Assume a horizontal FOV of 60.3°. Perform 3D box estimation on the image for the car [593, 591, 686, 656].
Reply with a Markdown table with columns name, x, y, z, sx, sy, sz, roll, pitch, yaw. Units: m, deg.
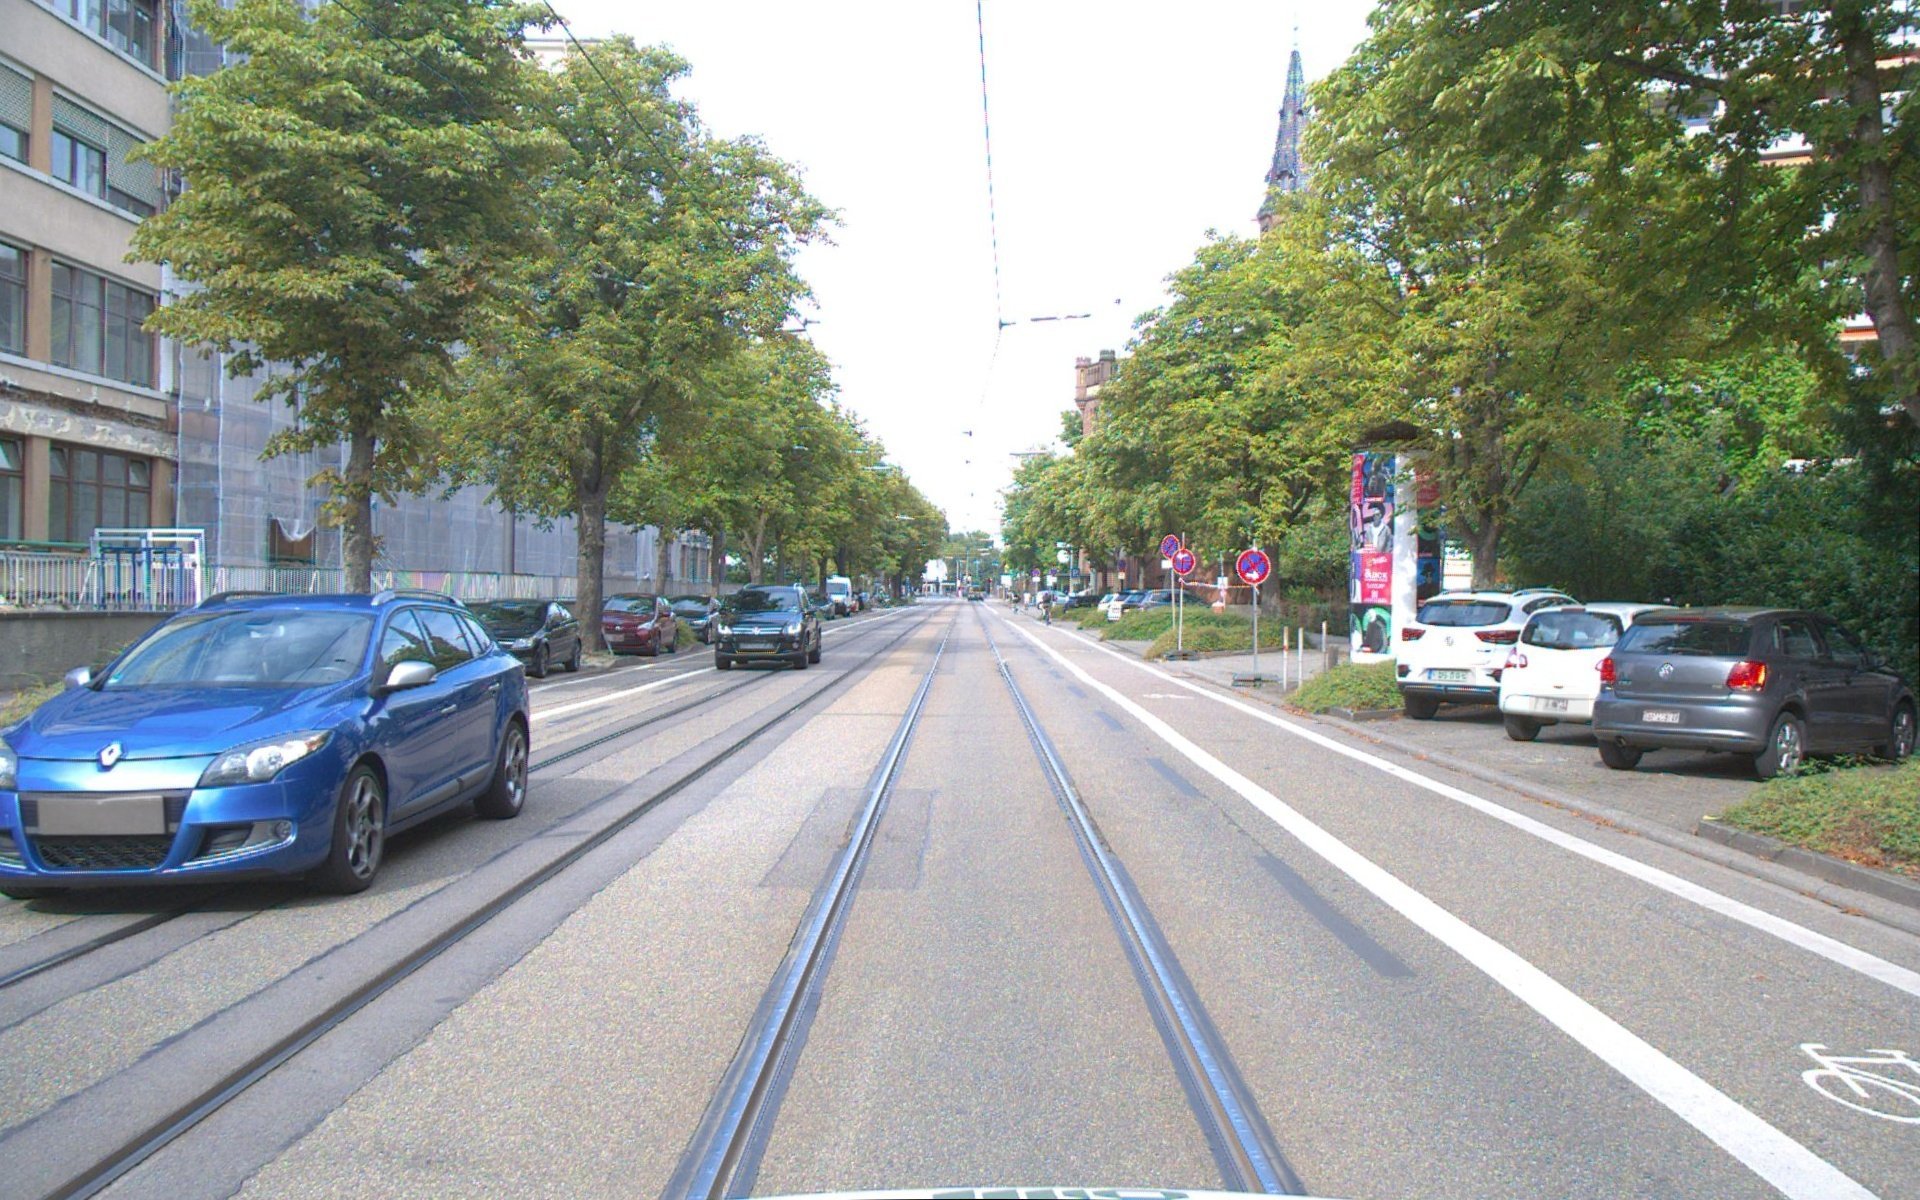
| name | x | y | z | sx | sy | sz | roll | pitch | yaw |
| --- | --- | --- | --- | --- | --- | --- | --- | --- | --- |
| car | -8.018 | 0.559 | 41.648 | 1.602 | 1.522 | 3.962 | 1 | 0 | -1 |

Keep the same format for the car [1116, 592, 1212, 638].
| name | x | y | z | sx | sy | sz | roll | pitch | yaw |
| --- | --- | --- | --- | --- | --- | --- | --- | --- | --- |
| car | 7.465 | 0.553 | 60.485 | 1.654 | 1.630 | 3.621 | 0 | 0 | 44 |

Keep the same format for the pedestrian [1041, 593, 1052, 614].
| name | x | y | z | sx | sy | sz | roll | pitch | yaw |
| --- | --- | --- | --- | --- | --- | --- | --- | --- | --- |
| pedestrian | 7.497 | 0.289 | 143.407 | 0.732 | 1.821 | 0.731 | 1 | -1 | 15 |

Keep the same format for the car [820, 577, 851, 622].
| name | x | y | z | sx | sy | sz | roll | pitch | yaw |
| --- | --- | --- | --- | --- | --- | --- | --- | --- | --- |
| car | -7.883 | -0.017 | 105.226 | 1.686 | 2.751 | 5.468 | 1 | 0 | -2 |

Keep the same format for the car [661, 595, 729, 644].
| name | x | y | z | sx | sy | sz | roll | pitch | yaw |
| --- | --- | --- | --- | --- | --- | --- | --- | --- | --- |
| car | -8.110 | 0.565 | 50.848 | 1.558 | 1.427 | 3.961 | 1 | 0 | -2 |

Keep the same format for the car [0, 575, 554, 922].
| name | x | y | z | sx | sy | sz | roll | pitch | yaw |
| --- | --- | --- | --- | --- | --- | --- | --- | --- | --- |
| car | -3.697 | 0.632 | 9.452 | 1.697 | 1.522 | 4.378 | 0 | 1 | 0 |

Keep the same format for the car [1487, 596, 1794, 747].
| name | x | y | z | sx | sy | sz | roll | pitch | yaw |
| --- | --- | --- | --- | --- | --- | --- | --- | --- | --- |
| car | 7.550 | 0.727 | 18.227 | 3.612 | 1.500 | 1.658 | 1 | 0 | -40 |

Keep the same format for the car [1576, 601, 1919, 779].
| name | x | y | z | sx | sy | sz | roll | pitch | yaw |
| --- | --- | --- | --- | --- | --- | --- | --- | --- | --- |
| car | 7.406 | 0.750 | 15.298 | 3.612 | 1.444 | 1.658 | 1 | 0 | -40 |

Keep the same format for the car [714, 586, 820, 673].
| name | x | y | z | sx | sy | sz | roll | pitch | yaw |
| --- | --- | --- | --- | --- | --- | --- | --- | --- | --- |
| car | -3.882 | 0.550 | 33.853 | 1.697 | 1.657 | 4.378 | -1 | 0 | -1 |

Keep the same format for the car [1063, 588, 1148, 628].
| name | x | y | z | sx | sy | sz | roll | pitch | yaw |
| --- | --- | --- | --- | --- | --- | --- | --- | --- | --- |
| car | 6.121 | 0.332 | 69.418 | 1.654 | 1.630 | 3.621 | 0 | 0 | 44 |

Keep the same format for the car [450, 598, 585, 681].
| name | x | y | z | sx | sy | sz | roll | pitch | yaw |
| --- | --- | --- | --- | --- | --- | --- | --- | --- | --- |
| car | -8.204 | 0.697 | 30.987 | 1.558 | 1.427 | 3.961 | 1 | 0 | -2 |

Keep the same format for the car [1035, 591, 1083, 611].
| name | x | y | z | sx | sy | sz | roll | pitch | yaw |
| --- | --- | --- | --- | --- | --- | --- | --- | --- | --- |
| car | 8.595 | 0.094 | 143.643 | 3.909 | 1.722 | 1.998 | 1 | 0 | -6 |

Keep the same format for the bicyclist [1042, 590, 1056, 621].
| name | x | y | z | sx | sy | sz | roll | pitch | yaw |
| --- | --- | --- | --- | --- | --- | --- | --- | --- | --- |
| bicyclist | 4.259 | 0.253 | 79.408 | 0.581 | 1.485 | 0.875 | 1 | 0 | -2 |

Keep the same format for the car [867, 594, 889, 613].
| name | x | y | z | sx | sy | sz | roll | pitch | yaw |
| --- | --- | --- | --- | --- | --- | --- | --- | --- | --- |
| car | -6.469 | 0.256 | 130.675 | 1.558 | 1.427 | 3.550 | 1 | 0 | 0 |

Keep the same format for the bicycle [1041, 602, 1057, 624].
| name | x | y | z | sx | sy | sz | roll | pitch | yaw |
| --- | --- | --- | --- | --- | --- | --- | --- | --- | --- |
| bicycle | 4.250 | 0.620 | 79.407 | 0.581 | 1.062 | 1.977 | 1 | 0 | -2 |

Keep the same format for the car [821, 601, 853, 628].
| name | x | y | z | sx | sy | sz | roll | pitch | yaw |
| --- | --- | --- | --- | --- | --- | --- | --- | --- | --- |
| car | -6.812 | 0.780 | 91.756 | 1.558 | 1.427 | 3.961 | 1 | 0 | -2 |

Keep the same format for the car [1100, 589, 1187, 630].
| name | x | y | z | sx | sy | sz | roll | pitch | yaw |
| --- | --- | --- | --- | --- | --- | --- | --- | --- | --- |
| car | 7.499 | 0.377 | 67.285 | 1.654 | 1.630 | 3.621 | 0 | 0 | 44 |

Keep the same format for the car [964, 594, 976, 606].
| name | x | y | z | sx | sy | sz | roll | pitch | yaw |
| --- | --- | --- | --- | --- | --- | --- | --- | --- | --- |
| car | 1.498 | -0.034 | 258.578 | 1.758 | 1.855 | 4.678 | 1 | 0 | -1 |

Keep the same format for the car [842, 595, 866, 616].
| name | x | y | z | sx | sy | sz | roll | pitch | yaw |
| --- | --- | --- | --- | --- | --- | --- | --- | --- | --- |
| car | -7.533 | 0.359 | 117.714 | 1.558 | 1.427 | 3.961 | 1 | 0 | -2 |

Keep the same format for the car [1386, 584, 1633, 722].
| name | x | y | z | sx | sy | sz | roll | pitch | yaw |
| --- | --- | --- | --- | --- | --- | --- | --- | --- | --- |
| car | 7.178 | 0.644 | 21.439 | 1.654 | 1.630 | 3.621 | 0 | 0 | 44 |

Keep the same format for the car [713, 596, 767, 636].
| name | x | y | z | sx | sy | sz | roll | pitch | yaw |
| --- | --- | --- | --- | --- | --- | --- | --- | --- | --- |
| car | -8.091 | 0.572 | 61.159 | 1.558 | 1.427 | 3.961 | 1 | 0 | -2 |
